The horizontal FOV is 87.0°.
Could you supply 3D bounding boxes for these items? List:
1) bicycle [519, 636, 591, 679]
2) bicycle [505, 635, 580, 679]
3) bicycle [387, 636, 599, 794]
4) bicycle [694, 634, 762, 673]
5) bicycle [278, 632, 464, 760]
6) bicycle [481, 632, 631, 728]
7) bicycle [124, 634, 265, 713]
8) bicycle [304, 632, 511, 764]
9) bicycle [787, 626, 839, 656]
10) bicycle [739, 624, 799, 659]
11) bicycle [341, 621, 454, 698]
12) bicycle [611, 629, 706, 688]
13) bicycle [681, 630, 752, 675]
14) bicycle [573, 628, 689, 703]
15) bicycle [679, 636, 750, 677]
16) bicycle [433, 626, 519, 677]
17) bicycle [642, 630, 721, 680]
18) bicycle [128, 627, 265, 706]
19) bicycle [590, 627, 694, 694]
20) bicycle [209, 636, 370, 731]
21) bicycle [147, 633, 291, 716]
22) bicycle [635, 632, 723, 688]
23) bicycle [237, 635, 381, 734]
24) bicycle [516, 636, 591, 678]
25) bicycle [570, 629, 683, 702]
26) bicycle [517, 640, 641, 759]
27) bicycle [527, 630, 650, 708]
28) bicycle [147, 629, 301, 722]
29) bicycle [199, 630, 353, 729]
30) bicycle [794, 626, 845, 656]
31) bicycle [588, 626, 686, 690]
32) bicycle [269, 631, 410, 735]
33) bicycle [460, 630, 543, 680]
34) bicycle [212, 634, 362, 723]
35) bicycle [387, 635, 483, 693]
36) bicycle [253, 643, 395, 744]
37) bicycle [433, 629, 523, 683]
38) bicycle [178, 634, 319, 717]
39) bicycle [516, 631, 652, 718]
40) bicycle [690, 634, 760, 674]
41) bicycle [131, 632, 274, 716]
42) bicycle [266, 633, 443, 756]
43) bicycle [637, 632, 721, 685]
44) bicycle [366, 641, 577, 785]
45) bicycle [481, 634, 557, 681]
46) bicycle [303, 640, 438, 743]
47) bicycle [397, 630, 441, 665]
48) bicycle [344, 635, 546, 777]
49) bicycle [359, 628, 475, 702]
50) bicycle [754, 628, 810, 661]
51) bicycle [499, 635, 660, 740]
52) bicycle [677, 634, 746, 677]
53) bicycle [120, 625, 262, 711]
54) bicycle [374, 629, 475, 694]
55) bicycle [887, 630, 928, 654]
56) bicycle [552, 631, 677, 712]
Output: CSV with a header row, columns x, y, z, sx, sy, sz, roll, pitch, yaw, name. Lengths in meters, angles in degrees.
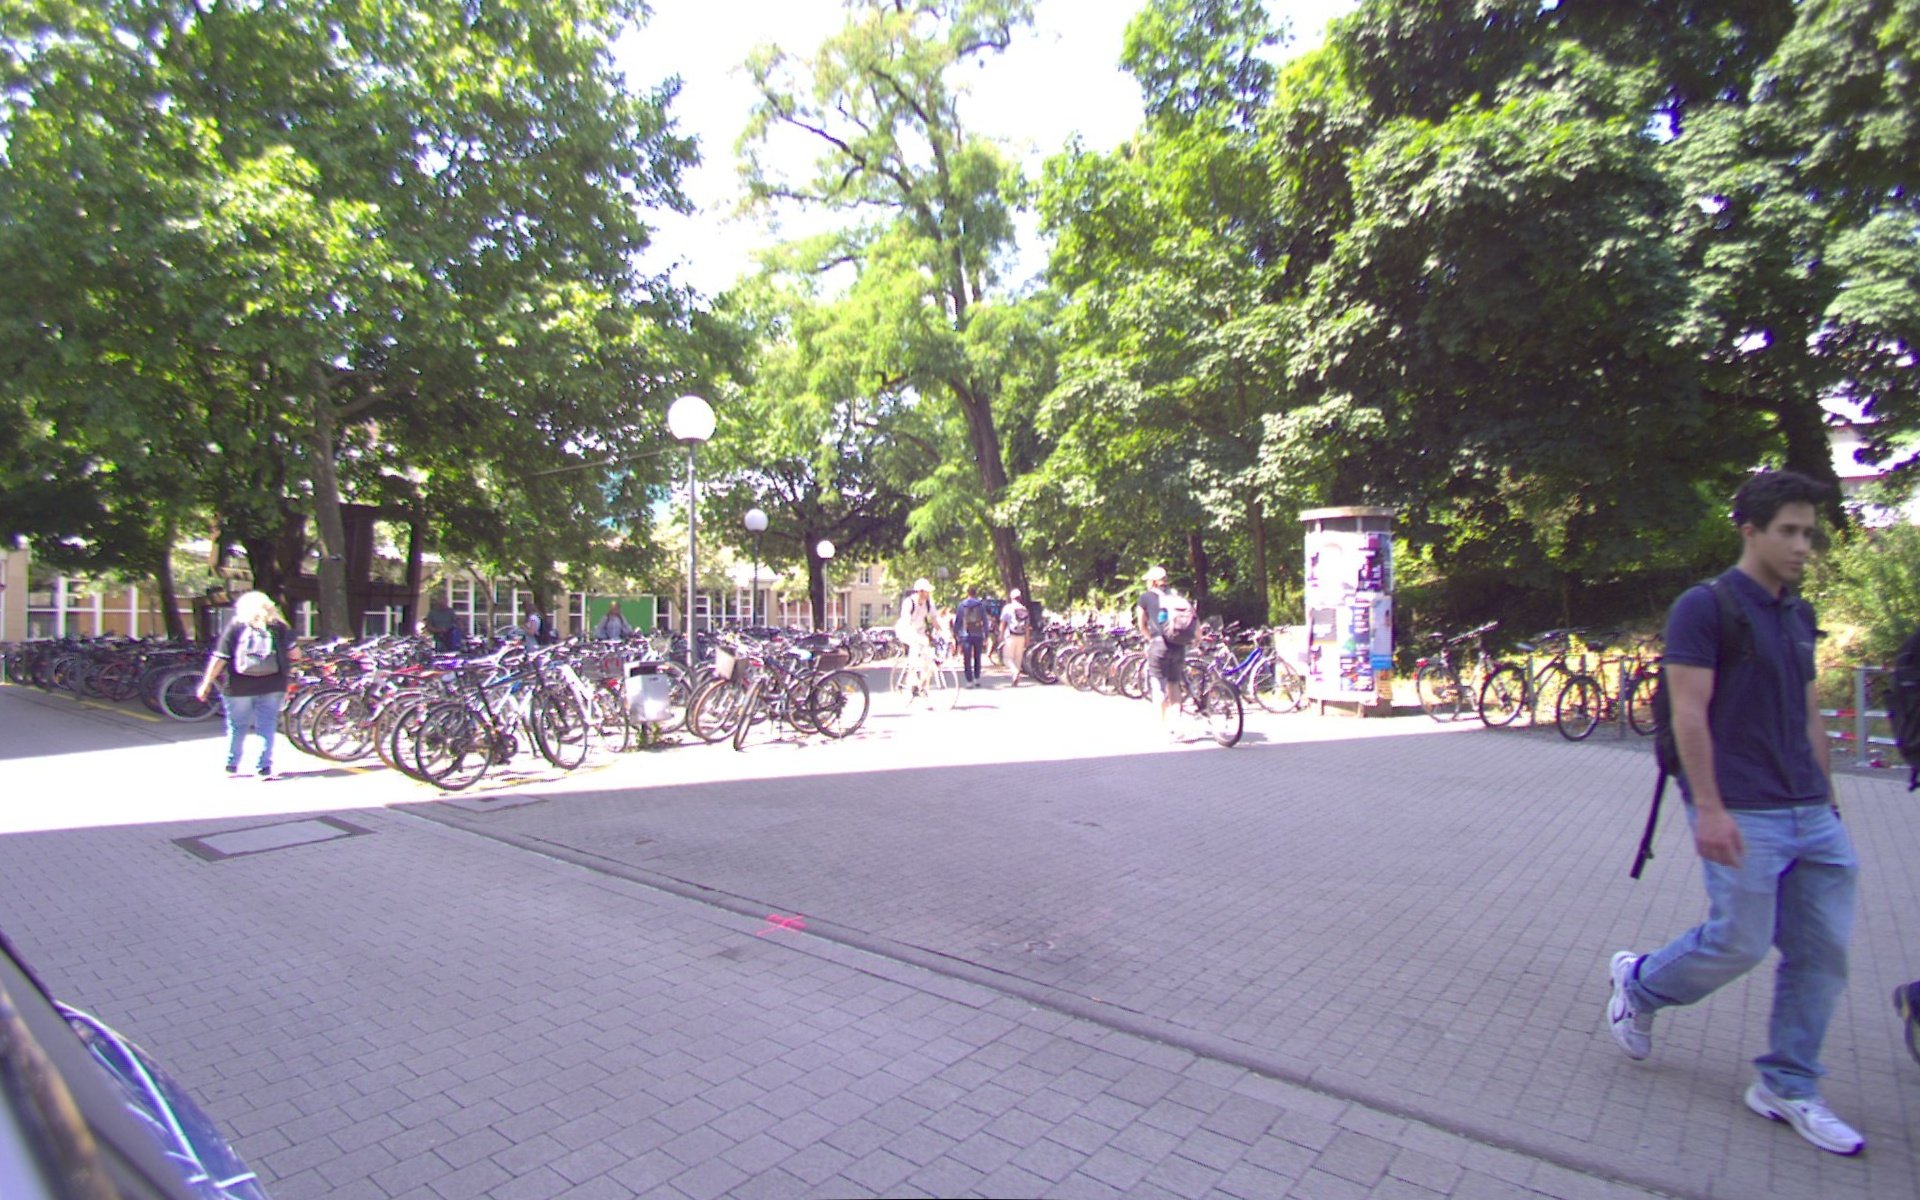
x,y,z,sx,sy,sz,roll,pitch,yaw,name
-10.882,1.536,27.233,1.756,1.116,0.502,-1,-1,3,bicycle
-10.929,1.486,26.512,1.756,1.116,0.502,-1,-1,3,bicycle
-3.923,0.913,8.636,0.472,1.168,1.681,-1,-1,31,bicycle
-6.635,1.528,28.916,1.834,1.092,0.474,-1,-1,3,bicycle
-6.031,0.935,10.467,0.472,1.177,1.684,-1,-1,27,bicycle
-4.994,0.964,12.572,1.672,1.092,0.475,0,-1,-37,bicycle
-11.734,1.095,15.563,0.495,1.116,1.683,-1,-1,29,bicycle
-5.453,0.930,10.052,1.752,1.177,0.475,0,-1,-37,bicycle
-5.403,1.499,37.152,1.834,1.092,0.474,-1,-1,3,bicycle
-6.084,1.328,32.264,1.834,1.092,0.474,-1,-1,3,bicycle
-9.563,0.984,17.259,0.500,1.229,1.683,-1,-1,28,bicycle
-5.743,1.107,19.338,1.673,1.092,0.475,0,-1,-5,bicycle
-6.068,1.315,25.251,1.677,1.092,0.474,-1,-1,3,bicycle
-5.055,0.995,15.607,1.671,1.092,0.475,0,-1,-14,bicycle
-6.688,1.532,27.584,1.834,1.092,0.474,-1,-1,3,bicycle
-10.877,1.148,22.760,1.672,1.116,0.504,0,-1,-10,bicycle
-6.314,1.248,22.985,1.677,1.092,0.474,-1,-1,3,bicycle
-12.362,1.052,16.436,0.496,1.187,1.718,-1,-1,39,bicycle
-5.393,1.011,17.224,1.671,1.092,0.475,0,-1,-14,bicycle
-8.685,1.048,13.189,0.580,1.116,1.683,-1,-1,28,bicycle
-10.932,1.068,14.993,0.472,1.116,1.683,-1,-1,28,bicycle
-5.698,1.213,20.577,1.673,1.092,0.475,0,-1,-5,bicycle
-8.128,1.021,12.717,0.469,1.116,1.693,-1,-1,12,bicycle
-11.177,1.560,27.818,1.881,1.116,0.502,-1,-1,3,bicycle
-5.264,1.023,16.047,1.671,1.092,0.475,0,-1,-14,bicycle
-3.946,0.976,10.406,1.700,1.092,0.501,-1,-1,43,bicycle
-5.457,0.996,14.912,1.670,1.092,0.475,0,-1,-19,bicycle
-10.302,1.021,14.232,0.535,1.207,1.681,-1,-1,31,bicycle
-9.094,1.021,13.524,0.472,1.196,1.683,-1,-1,28,bicycle
-5.256,1.530,37.858,1.834,1.092,0.474,-1,-1,3,bicycle
-5.809,1.034,18.261,1.671,1.092,0.475,0,-1,-14,bicycle
-7.678,0.989,12.614,0.469,1.166,1.693,-1,-1,12,bicycle
-10.818,1.288,23.912,1.672,1.116,0.633,0,-1,-10,bicycle
-9.333,1.051,14.100,0.563,1.116,1.683,-1,-1,28,bicycle
-10.625,1.278,20.519,1.671,1.116,0.504,0,-1,-14,bicycle
-7.310,1.045,11.722,0.468,1.026,1.697,-1,-1,5,bicycle
-10.254,1.180,21.587,1.671,1.116,0.504,0,-1,-14,bicycle
-10.476,1.074,14.959,0.472,1.116,1.683,-1,-1,28,bicycle
-5.021,0.978,13.581,1.671,1.092,0.475,0,-1,-15,bicycle
-6.535,1.500,28.136,1.834,1.092,0.474,-1,-1,3,bicycle
-11.345,1.069,15.211,0.472,1.154,1.683,-1,-1,28,bicycle
-6.426,0.961,10.838,0.471,1.177,1.686,-1,-1,23,bicycle
-6.046,1.253,21.792,1.677,1.092,0.474,-1,-1,3,bicycle
-4.266,0.943,8.956,0.473,1.099,1.680,-1,-1,34,bicycle
-10.932,1.419,25.125,1.672,1.116,0.504,0,-1,-10,bicycle
-6.806,1.022,11.780,0.468,1.070,1.697,-1,-1,5,bicycle
-19.362,1.687,36.248,0.792,1.181,1.890,-1,-1,-9,bicycle
-4.788,0.935,9.520,0.473,1.177,1.680,-1,-1,34,bicycle
-8.820,1.022,16.496,0.500,1.116,1.683,-1,-1,28,bicycle
-6.073,1.518,34.593,1.834,1.092,0.474,-1,-1,3,bicycle
-4.358,0.970,11.658,1.672,1.092,0.475,0,-1,-38,bicycle
-6.467,1.434,26.372,1.677,1.092,0.474,-1,-1,3,bicycle
-12.058,1.031,15.925,0.495,1.245,1.721,-1,-1,32,bicycle
-10.508,1.192,19.910,1.671,1.209,0.577,0,-1,-14,bicycle
-2.447,1.957,47.106,1.847,1.092,0.470,-1,-1,24,bicycle
-4.957,1.009,14.556,1.670,1.092,0.475,0,-1,-19,bicycle
